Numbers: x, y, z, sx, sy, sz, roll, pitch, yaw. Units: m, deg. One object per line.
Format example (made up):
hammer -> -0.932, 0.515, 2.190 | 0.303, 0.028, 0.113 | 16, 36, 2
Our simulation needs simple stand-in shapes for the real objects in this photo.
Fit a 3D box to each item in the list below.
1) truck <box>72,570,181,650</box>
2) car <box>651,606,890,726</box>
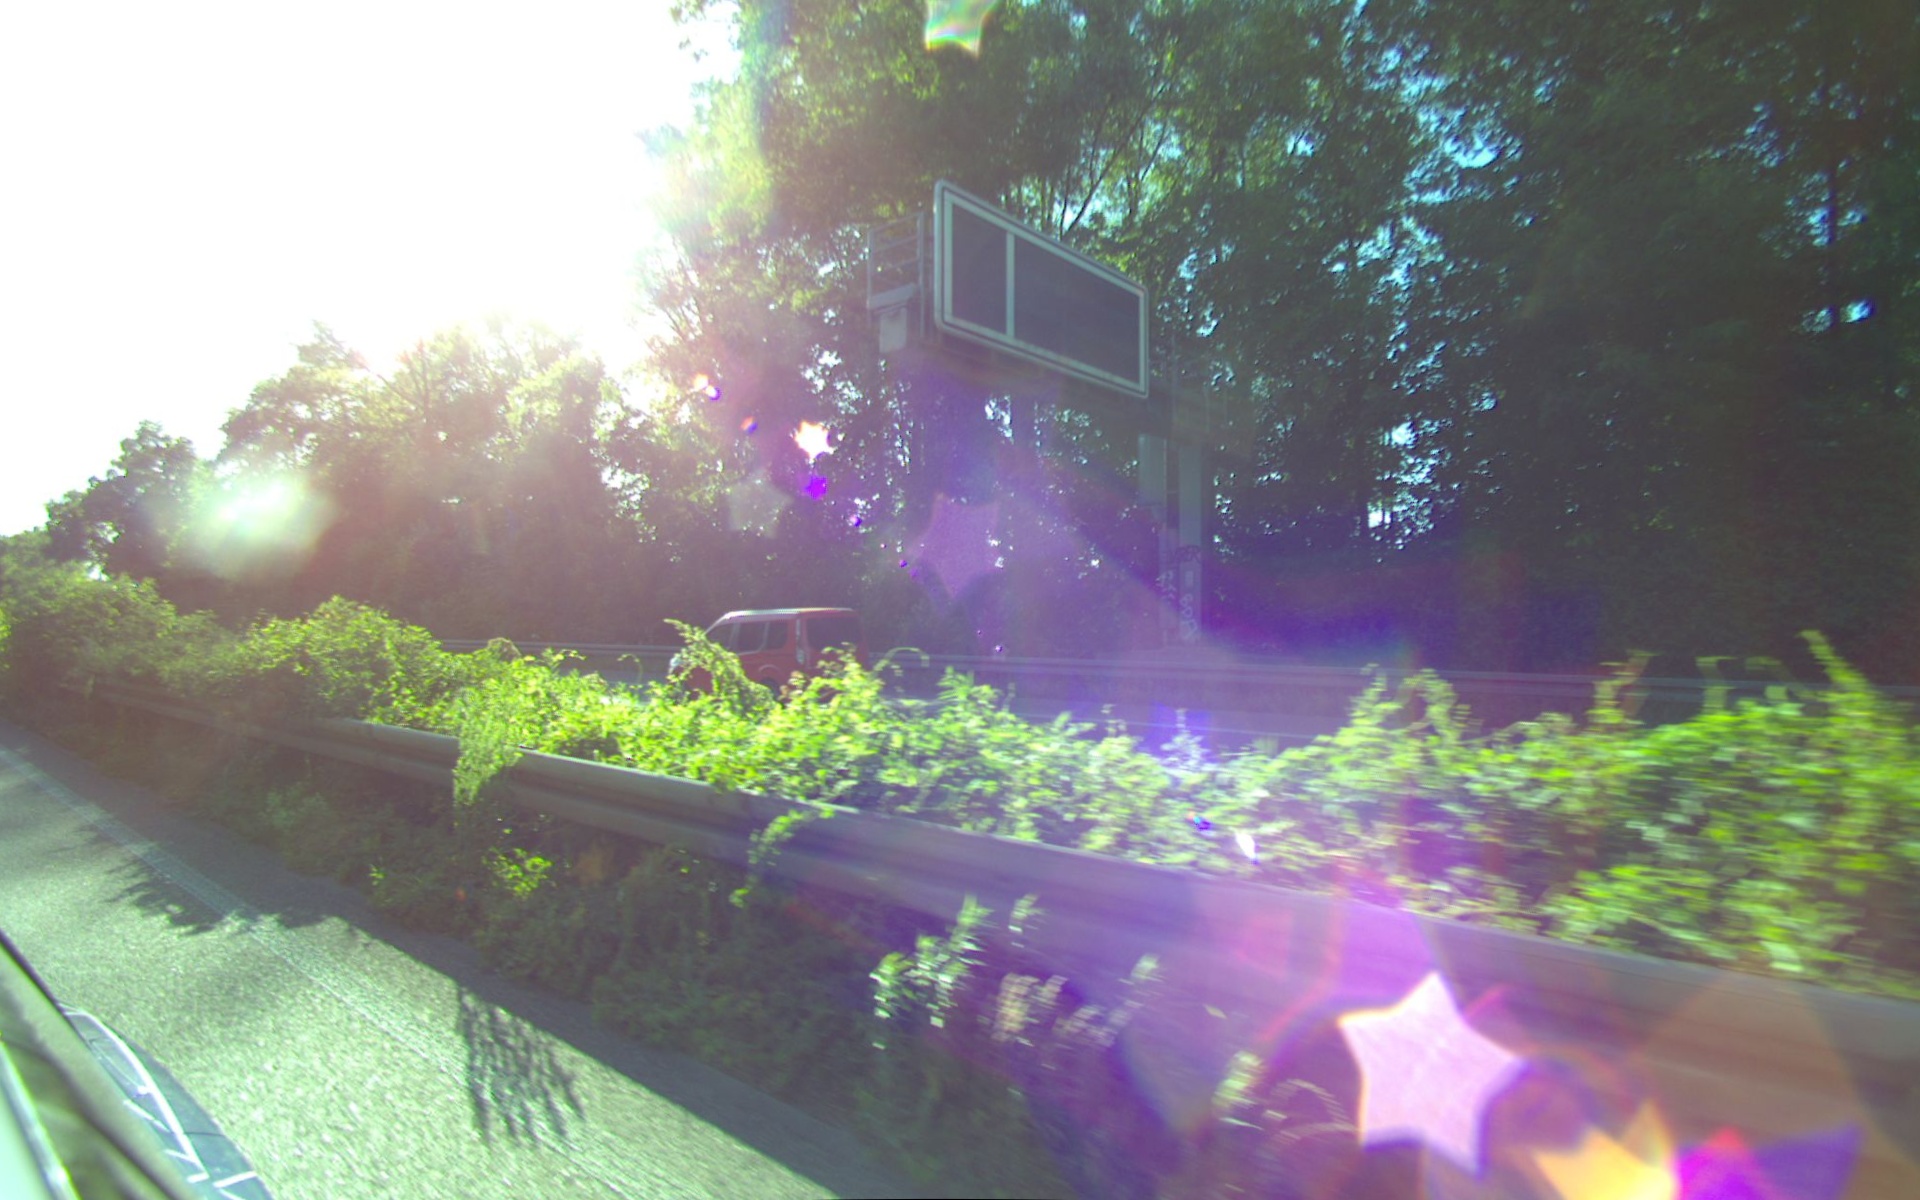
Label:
truck -> -45.307, 0.515, 54.843 | 11.462, 3.985, 2.740 | -1, 0, 41
car -> -3.436, 1.043, 17.835 | 4.524, 1.824, 1.699 | -1, 0, 41
